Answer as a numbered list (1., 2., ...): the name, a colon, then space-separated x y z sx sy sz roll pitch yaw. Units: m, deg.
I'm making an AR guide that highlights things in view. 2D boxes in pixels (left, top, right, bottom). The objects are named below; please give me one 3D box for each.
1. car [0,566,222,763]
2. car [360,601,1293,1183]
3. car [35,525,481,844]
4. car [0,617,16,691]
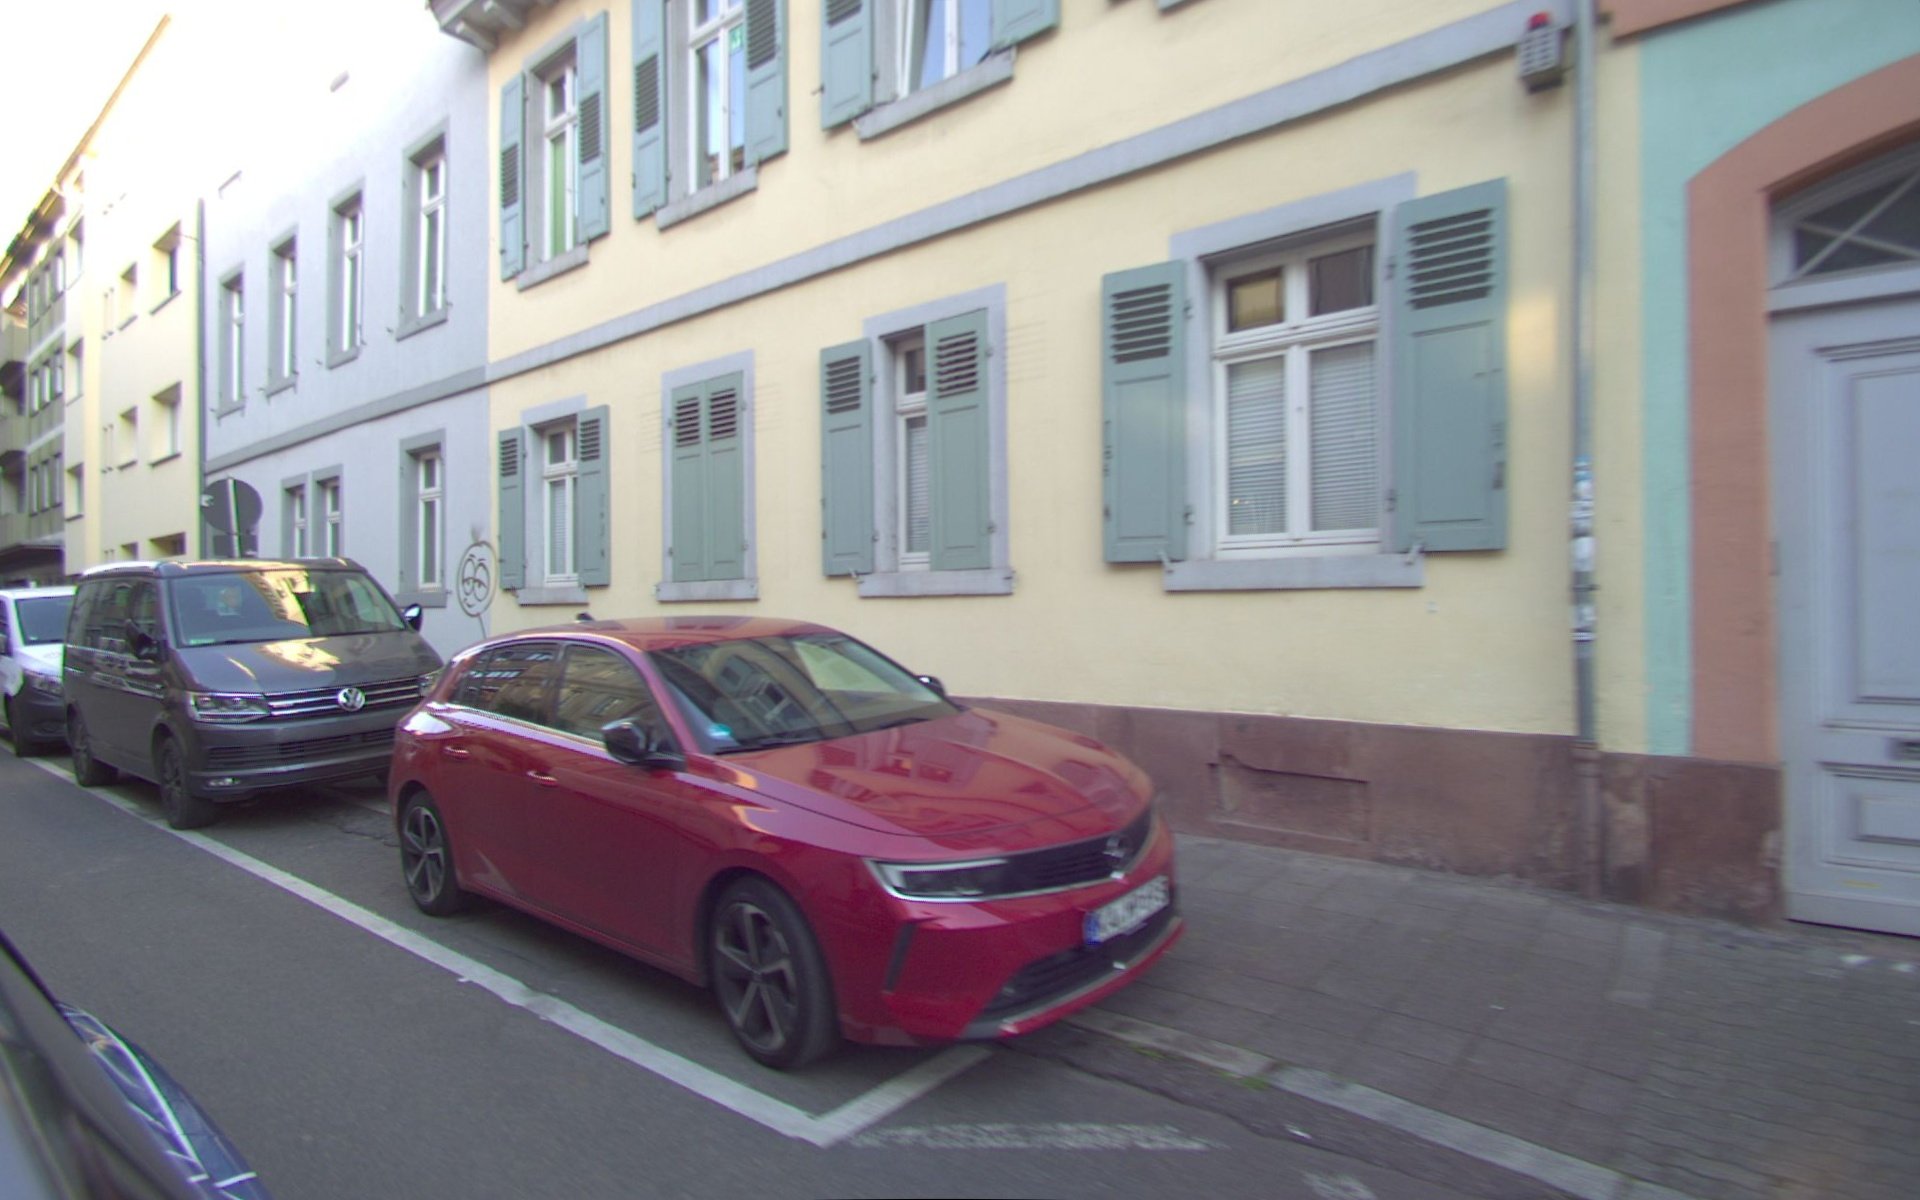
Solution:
1. car: -11.240 0.708 12.758 5.099 2.029 1.844 -1 -1 39
2. car: -0.926 0.737 4.531 4.260 1.412 1.747 -1 0 40
3. car: -6.190 0.576 8.683 4.808 2.029 1.844 -1 -1 39
4. car: -21.060 1.146 20.997 3.517 1.459 1.646 -1 3 39
